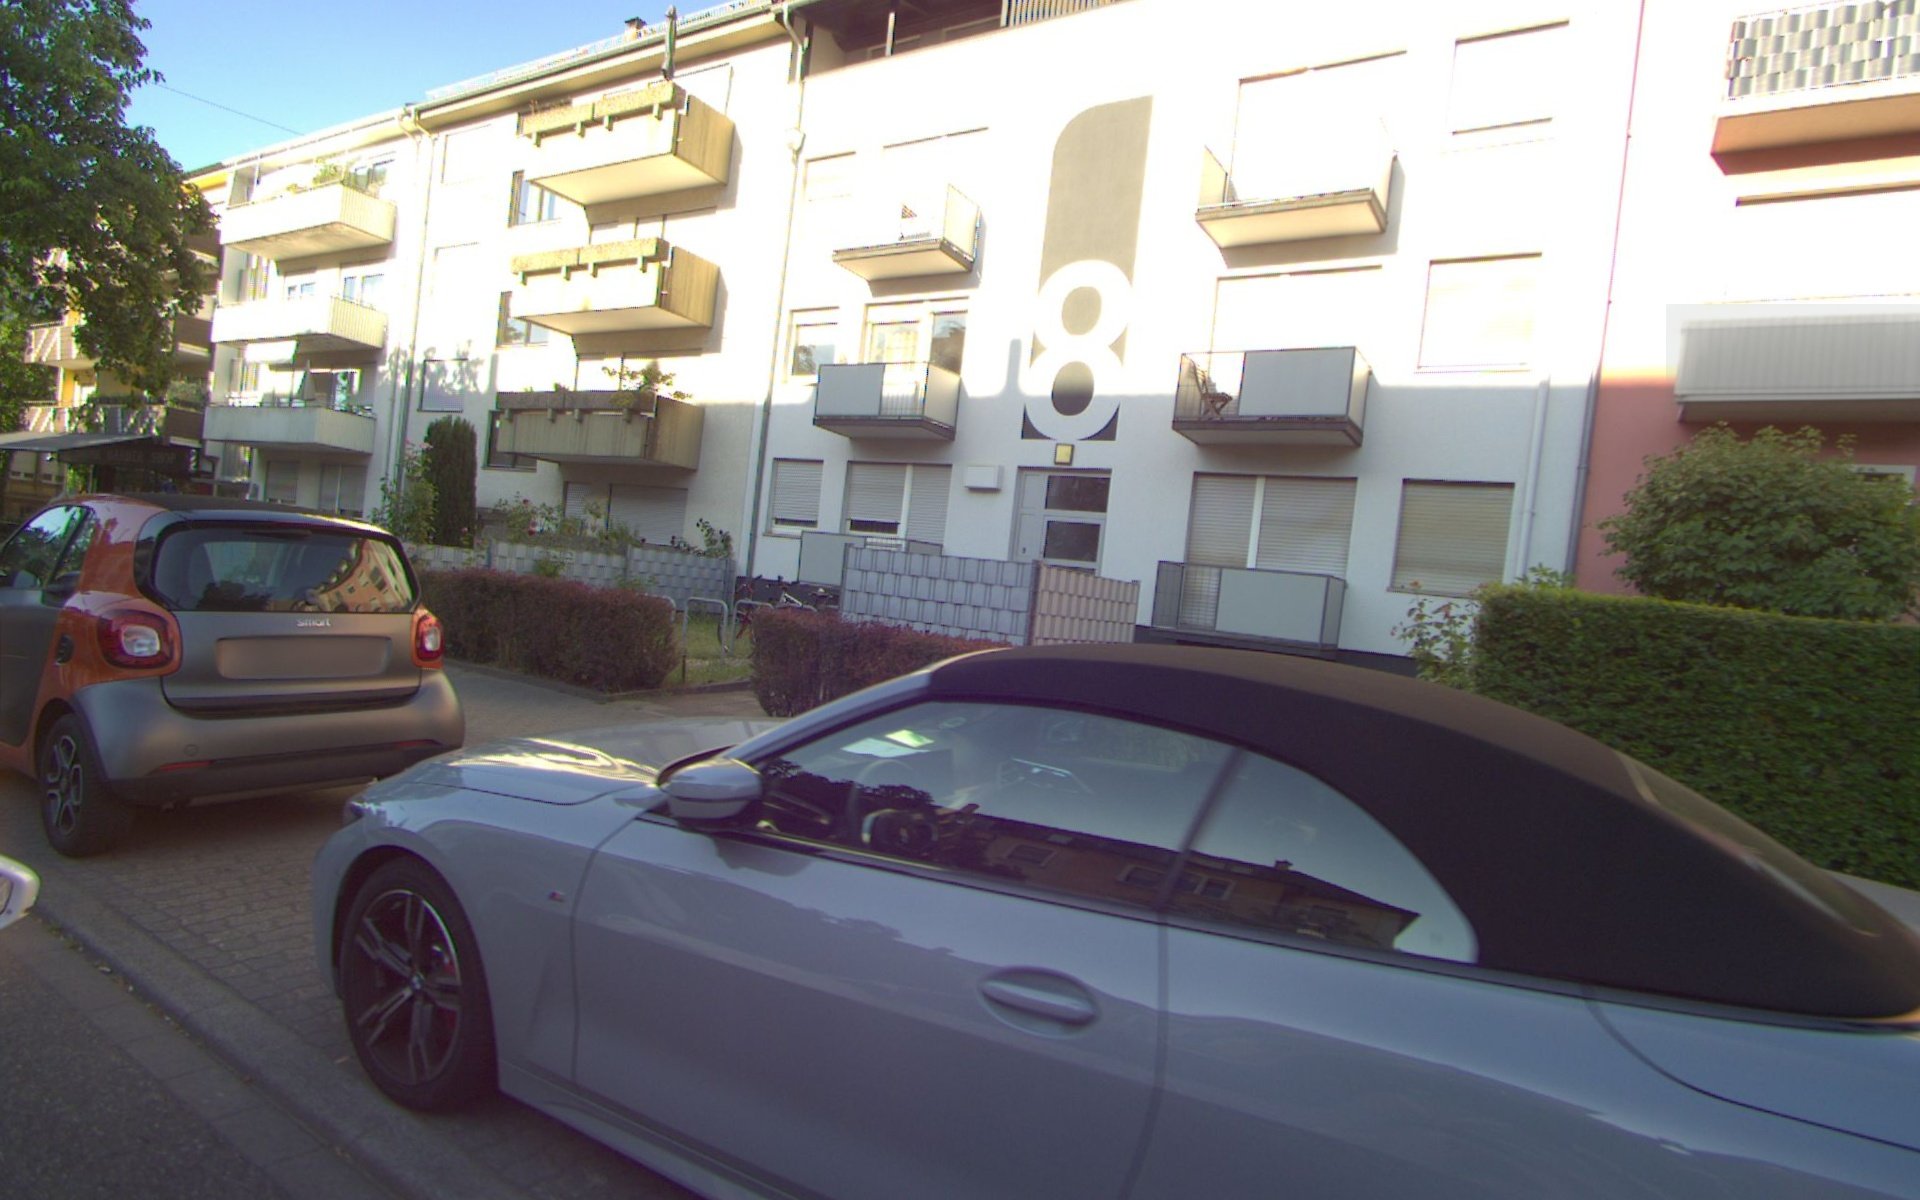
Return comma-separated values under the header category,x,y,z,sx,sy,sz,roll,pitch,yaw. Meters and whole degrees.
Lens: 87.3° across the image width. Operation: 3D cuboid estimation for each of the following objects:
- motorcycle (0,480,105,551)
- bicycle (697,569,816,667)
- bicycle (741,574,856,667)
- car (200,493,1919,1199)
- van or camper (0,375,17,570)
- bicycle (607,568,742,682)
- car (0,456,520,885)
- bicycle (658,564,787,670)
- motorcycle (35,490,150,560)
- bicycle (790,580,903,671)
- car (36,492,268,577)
category,x,y,z,sx,sy,sz,roll,pitch,yaw
motorcycle,-25.246,-2.337,27.865,0.720,1.641,2.192,7,1,39
bicycle,-2.690,0.224,13.227,1.519,1.103,0.493,7,1,32
bicycle,-2.247,0.281,13.943,1.519,1.103,0.493,7,1,32
car,0.287,0.736,2.698,4.664,1.505,1.923,7,0,29
van or camper,-13.099,-1.316,11.362,5.892,2.709,2.069,6,0,33
bicycle,-3.261,0.276,11.444,1.519,1.103,0.493,7,1,32
car,-4.480,0.182,5.635,3.694,1.662,1.775,6,0,31
bicycle,-2.898,0.197,12.221,1.519,1.103,0.493,7,1,32
motorcycle,-24.124,-2.066,28.009,0.876,1.641,2.192,7,1,39
bicycle,-1.621,0.359,14.277,1.519,1.103,0.493,7,1,32
car,-19.674,-1.555,24.675,1.793,1.480,3.993,7,0,29
